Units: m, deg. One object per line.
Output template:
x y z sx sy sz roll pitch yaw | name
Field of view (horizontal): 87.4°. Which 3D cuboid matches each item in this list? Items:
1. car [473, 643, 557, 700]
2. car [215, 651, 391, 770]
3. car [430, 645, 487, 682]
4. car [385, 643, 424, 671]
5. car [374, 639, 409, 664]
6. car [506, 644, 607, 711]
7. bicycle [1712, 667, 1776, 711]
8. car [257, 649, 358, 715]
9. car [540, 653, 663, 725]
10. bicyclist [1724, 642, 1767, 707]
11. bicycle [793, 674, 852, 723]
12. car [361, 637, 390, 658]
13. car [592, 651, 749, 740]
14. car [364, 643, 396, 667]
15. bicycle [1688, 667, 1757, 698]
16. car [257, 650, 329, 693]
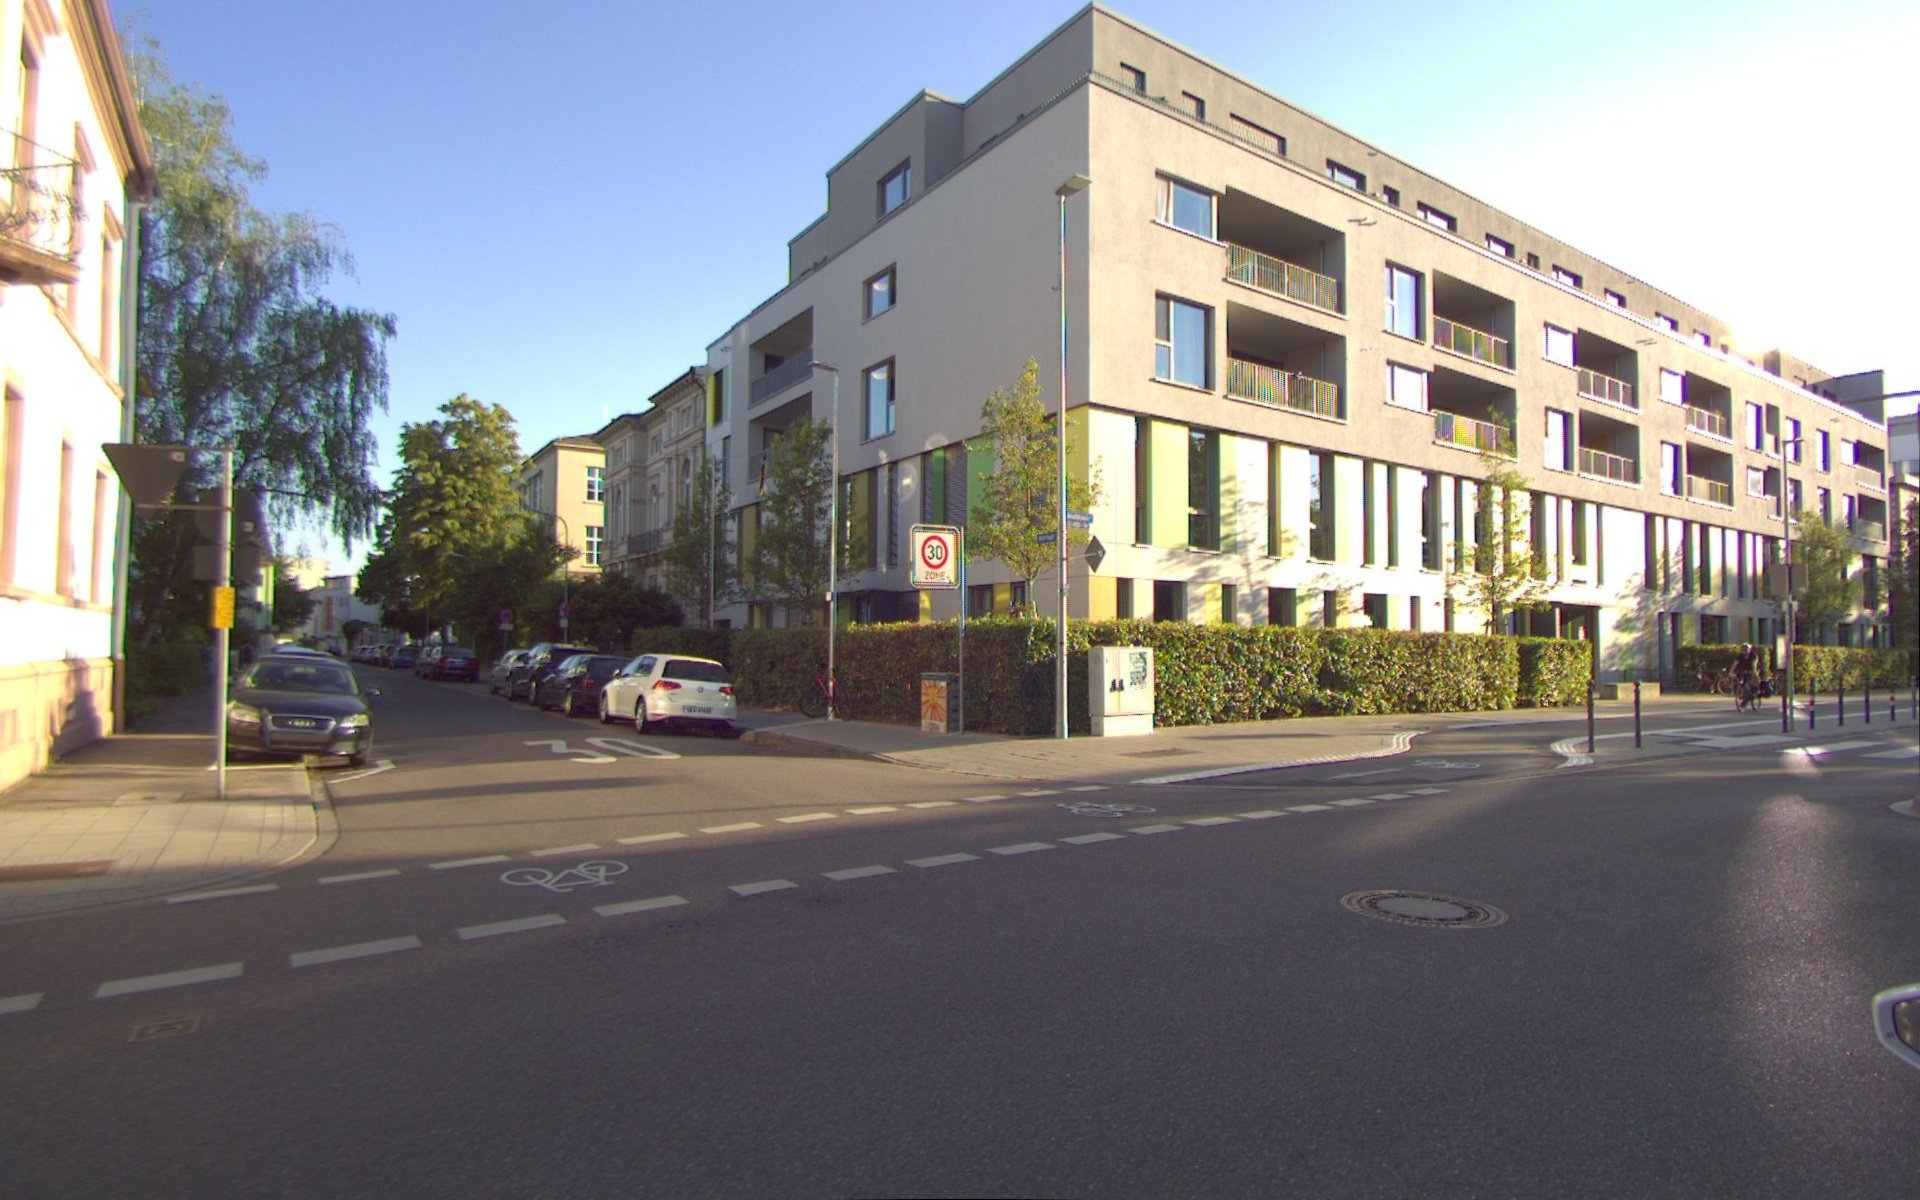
-14.060 2.222 31.617 1.736 1.576 3.885 8 -6 -32 | car
-9.642 1.486 14.681 1.886 1.457 3.880 2 -3 -36 | car
-22.252 2.795 44.515 1.876 1.556 3.710 2 -3 -32 | car
-34.631 3.538 62.612 1.876 1.661 3.710 2 -3 -32 | car
-39.030 3.502 68.892 1.876 1.661 3.710 2 -3 -32 | car
-10.968 2.051 27.181 1.736 1.576 3.885 8 -6 -32 | car
20.293 2.281 25.996 1.861 1.092 0.631 2 -3 -30 | bicycle
-16.170 1.964 24.805 1.886 1.457 3.880 2 -3 -36 | car
-8.267 1.991 22.967 1.736 1.394 3.885 8 -6 -32 | car
20.370 1.924 26.053 0.748 1.666 0.624 2 -3 -29 | bicyclist
-2.806 1.975 20.352 0.507 0.904 1.587 2 -3 -35 | bicycle
-47.015 3.837 80.768 1.876 1.661 3.710 2 -3 -32 | car
-5.712 1.798 19.502 1.800 1.456 3.885 8 -6 -32 | car
-42.501 4.022 73.546 1.876 1.661 3.710 2 -3 -32 | car
25.453 2.739 33.567 0.611 0.930 1.739 2 -2 -36 | bicycle
-23.905 2.513 35.954 1.887 1.457 3.878 2 -3 -37 | car
